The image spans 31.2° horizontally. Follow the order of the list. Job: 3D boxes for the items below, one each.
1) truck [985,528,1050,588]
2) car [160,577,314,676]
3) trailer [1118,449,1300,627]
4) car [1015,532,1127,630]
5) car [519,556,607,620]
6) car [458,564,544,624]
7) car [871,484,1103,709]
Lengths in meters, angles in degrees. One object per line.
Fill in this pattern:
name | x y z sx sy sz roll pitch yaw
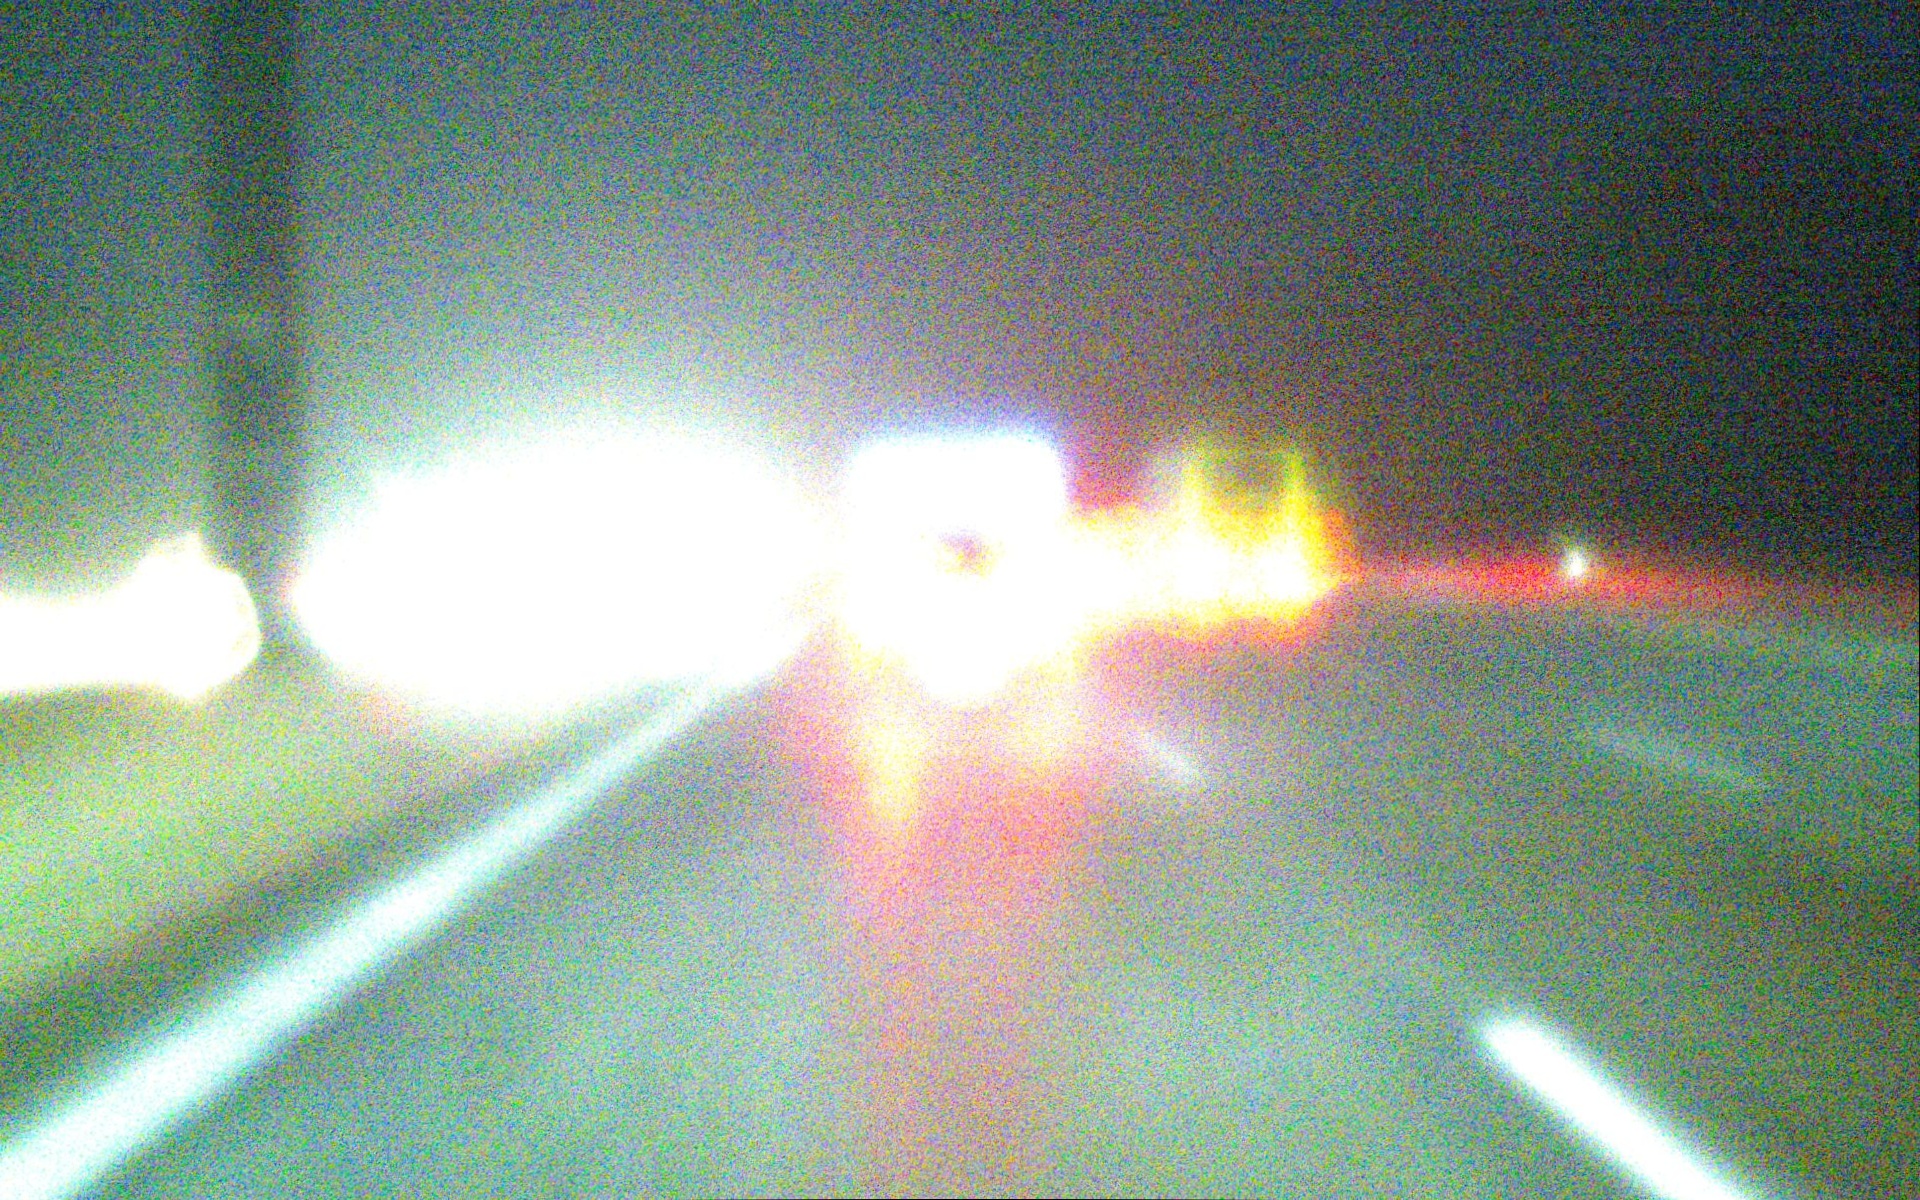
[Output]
truck | 3.260 -2.388 198.041 3.037 3.286 11.382 -2 0 -2
car | -13.165 0.470 62.813 1.916 1.678 4.000 -2 0 0
trailer | 6.180 -1.505 87.830 3.041 4.094 13.830 -2 0 -2
car | 2.382 -0.416 74.834 1.993 2.007 4.001 -2 0 -4
car | -10.947 -0.329 95.004 1.916 1.678 4.000 -2 0 0
car | -13.624 -0.185 102.290 1.916 1.678 4.506 -2 0 0
car | 0.186 -0.042 32.644 1.993 2.007 4.000 0 0 -3
